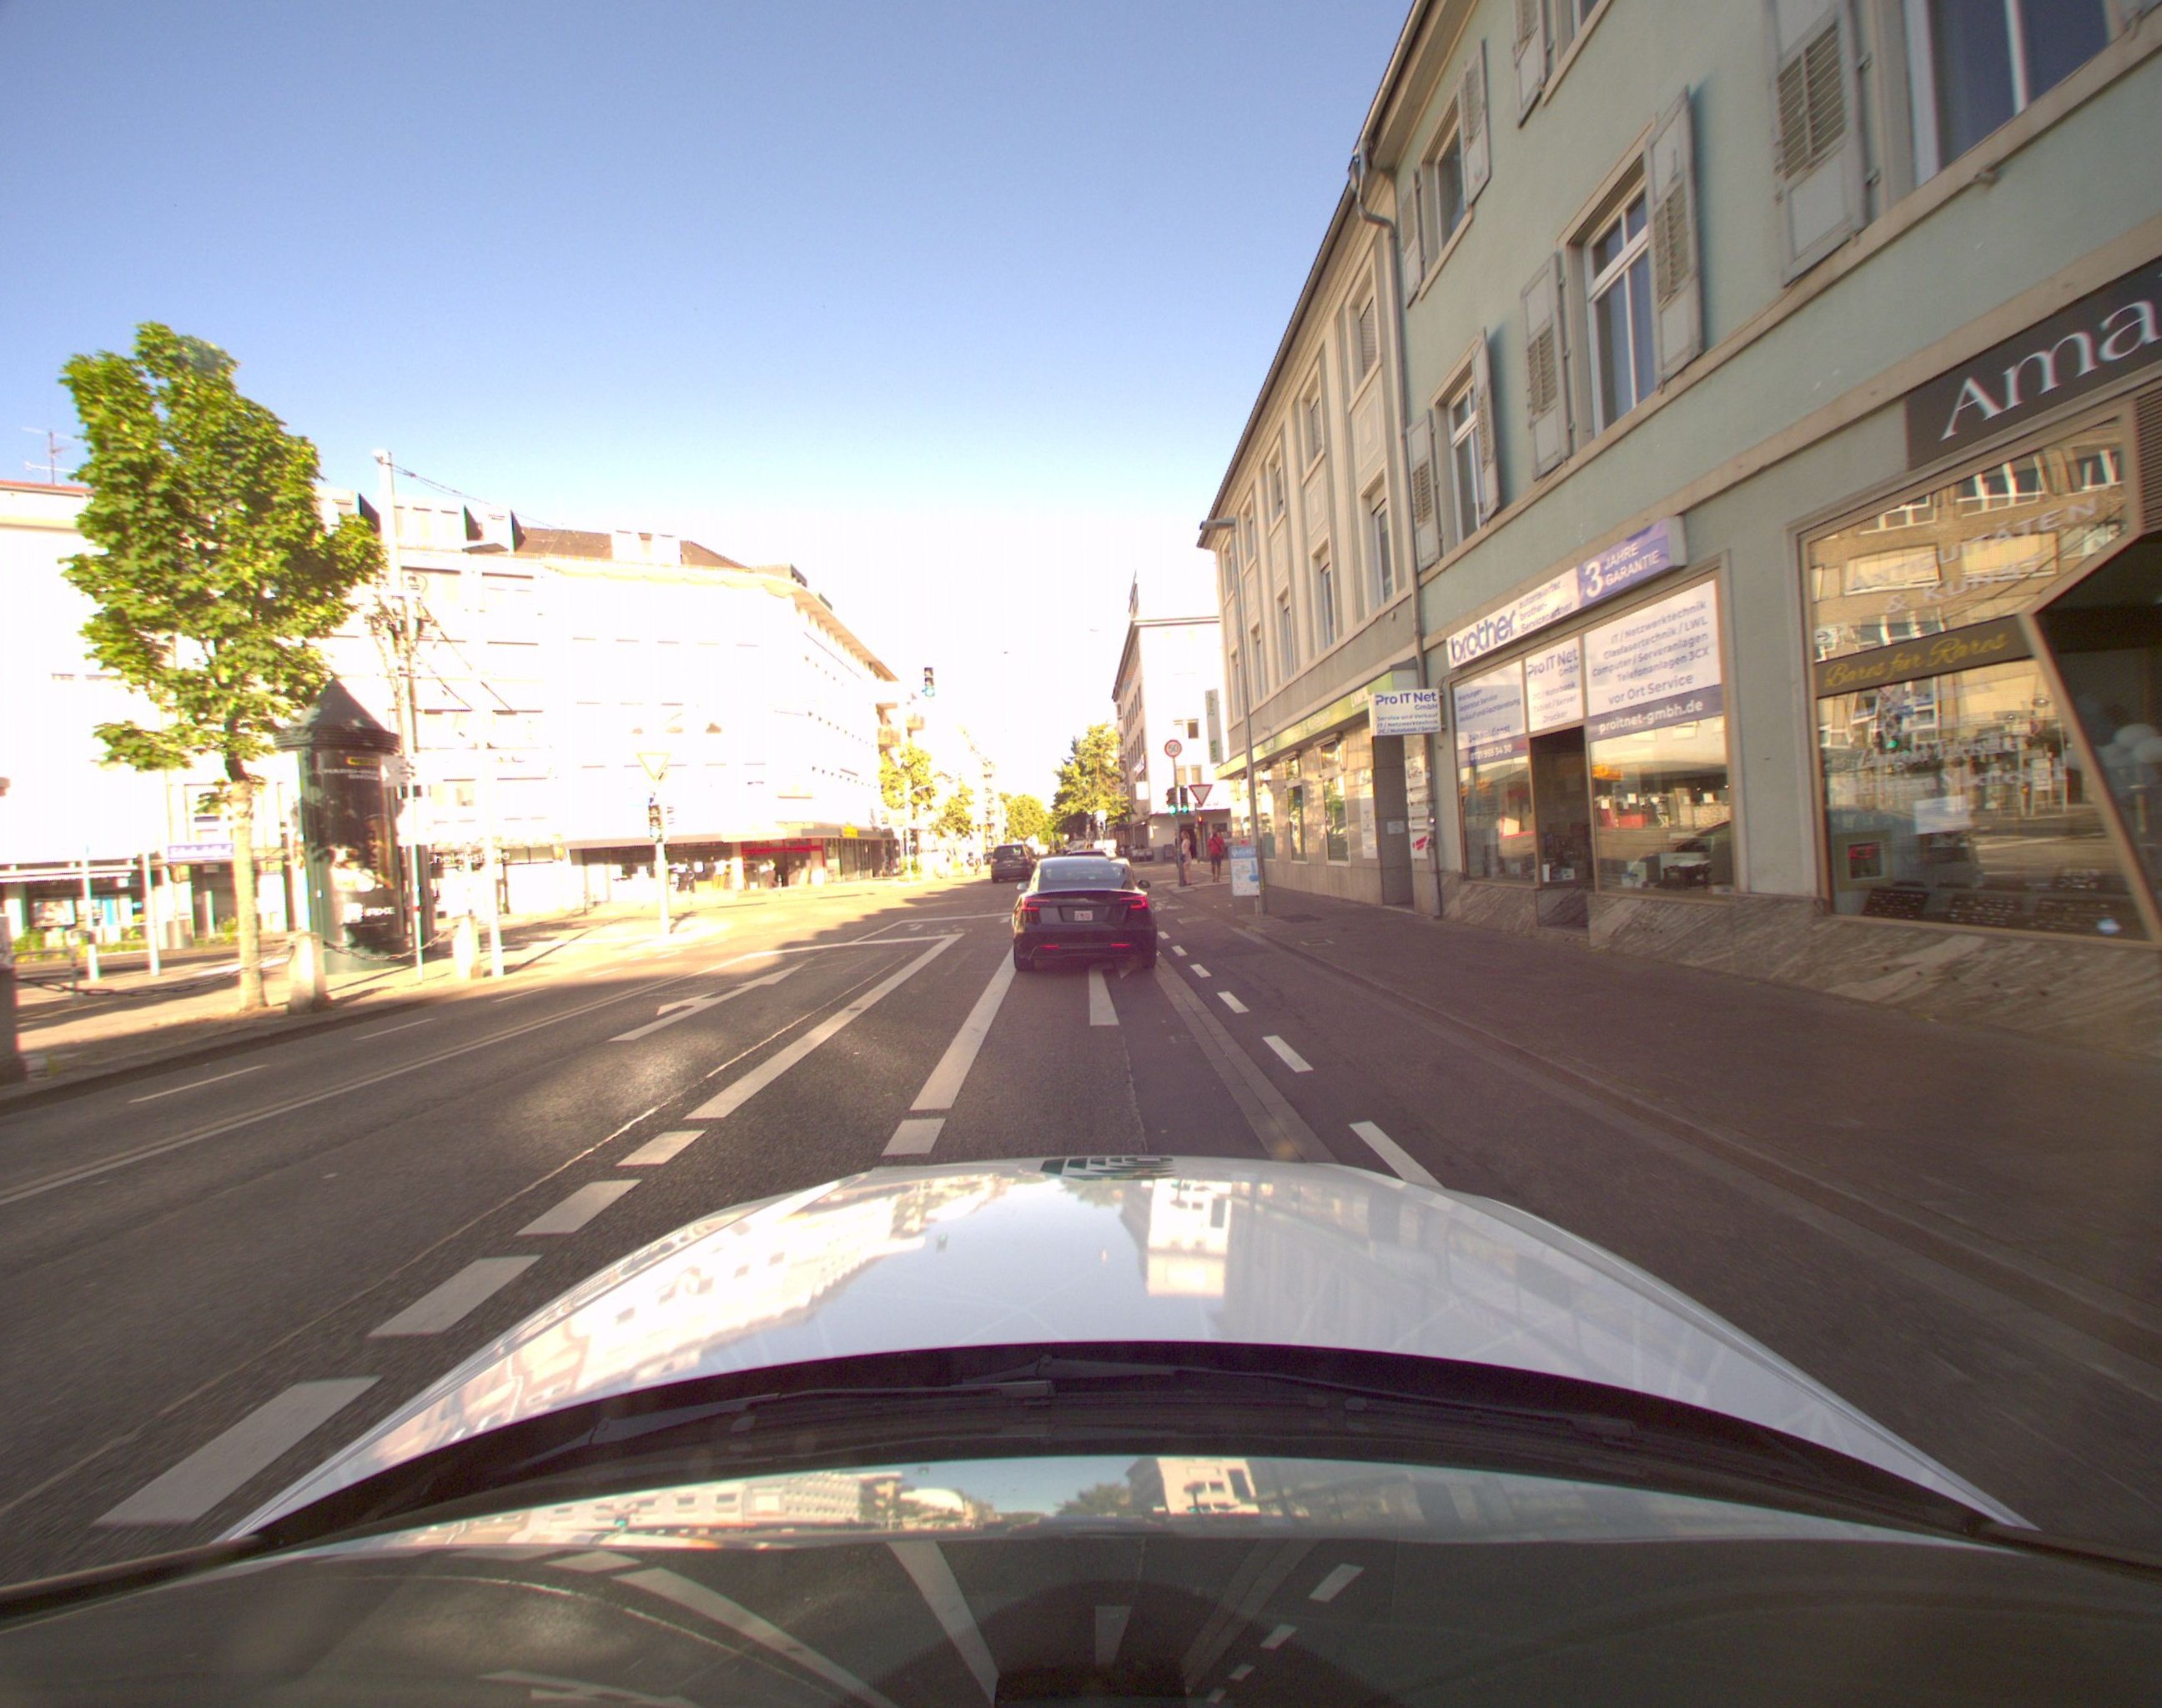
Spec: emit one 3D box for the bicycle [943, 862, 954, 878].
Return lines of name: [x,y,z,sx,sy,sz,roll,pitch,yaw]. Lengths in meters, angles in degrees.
bicycle: [-8.436,1.031,51.905,0.481,0.955,1.448,-5,0,-15]

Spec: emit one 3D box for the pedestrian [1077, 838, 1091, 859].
pedestrian: [0.266,-0.522,79.416,0.951,1.915,1.110,-4,0,15]

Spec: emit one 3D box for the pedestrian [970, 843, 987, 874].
pedestrian: [-6.648,0.279,52.626,0.780,1.866,0.996,-7,1,-15]

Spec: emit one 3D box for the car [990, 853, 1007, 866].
car: [-10.456,0.682,103.551,1.782,1.402,3.902,-4,1,-2]

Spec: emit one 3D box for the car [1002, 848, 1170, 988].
car: [0.070,0.728,11.677,1.863,1.427,4.364,-4,1,0]

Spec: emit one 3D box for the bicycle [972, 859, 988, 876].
bicycle: [-6.564,0.863,52.711,0.759,1.007,1.718,-7,1,-12]

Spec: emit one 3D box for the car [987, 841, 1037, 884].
car: [-3.132,0.353,37.675,1.898,1.733,4.287,-4,1,-1]

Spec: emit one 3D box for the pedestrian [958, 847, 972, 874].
pedestrian: [-7.534,0.419,52.859,0.779,1.727,0.556,-4,1,-16]

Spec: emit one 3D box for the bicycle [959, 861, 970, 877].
bicycle: [-7.519,0.955,52.576,0.553,0.968,1.787,-5,0,-12]

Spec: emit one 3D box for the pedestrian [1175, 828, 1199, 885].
pedestrian: [3.393,0.072,26.063,0.571,1.759,0.649,-3,0,-1]

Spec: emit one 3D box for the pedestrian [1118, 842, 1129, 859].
pedestrian: [3.534,-0.283,67.954,0.708,1.347,1.058,-5,0,-4]

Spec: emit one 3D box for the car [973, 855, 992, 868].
car: [-11.266,0.837,93.692,1.782,1.402,3.902,-4,1,-2]

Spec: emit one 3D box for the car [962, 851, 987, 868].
car: [-11.170,0.510,85.873,1.987,1.598,4.001,-3,1,1]

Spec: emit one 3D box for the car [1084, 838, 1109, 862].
car: [1.323,-0.382,69.402,1.898,1.852,4.287,-4,1,-1]

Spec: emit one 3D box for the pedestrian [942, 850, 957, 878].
pedestrian: [-8.367,0.618,51.700,0.792,1.712,0.651,-4,1,-16]

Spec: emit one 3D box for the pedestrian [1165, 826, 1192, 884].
pedestrian: [3.183,0.021,26.601,0.638,1.841,0.681,-4,1,-1]

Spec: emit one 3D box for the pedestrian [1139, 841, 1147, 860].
pedestrian: [4.430,-0.224,58.148,0.485,1.322,0.655,-5,0,7]

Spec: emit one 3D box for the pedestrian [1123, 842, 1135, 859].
pedestrian: [3.945,-0.298,66.853,0.729,1.347,1.059,-5,0,-3]

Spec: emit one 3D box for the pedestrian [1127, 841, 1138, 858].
pedestrian: [4.310,-0.347,68.130,0.728,1.360,0.958,-5,0,-1]

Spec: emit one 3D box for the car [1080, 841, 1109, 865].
car: [0.996,-0.122,62.969,1.995,1.636,4.287,-4,1,-1]

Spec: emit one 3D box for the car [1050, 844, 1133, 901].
car: [0.406,0.479,24.359,1.751,1.418,4.366,-3,0,9]

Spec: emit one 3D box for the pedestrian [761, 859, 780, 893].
pedestrian: [-15.952,1.114,41.873,0.557,1.709,0.711,-5,0,-4]

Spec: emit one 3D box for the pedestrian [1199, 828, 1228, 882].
pedestrian: [4.322,0.026,26.600,0.687,1.702,0.912,-5,1,0]

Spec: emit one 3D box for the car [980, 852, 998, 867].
car: [-11.154,0.652,98.684,1.713,1.610,3.595,-5,1,-1]

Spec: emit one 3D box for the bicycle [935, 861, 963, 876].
bicycle: [-10.713,1.170,66.100,2.223,0.958,0.653,-4,0,-14]

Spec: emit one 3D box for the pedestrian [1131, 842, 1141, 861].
pedestrian: [3.888,-0.174,57.357,0.584,1.312,0.560,-5,0,-1]

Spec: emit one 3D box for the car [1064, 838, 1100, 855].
car: [0.135,-1.194,124.667,5.378,2.145,1.998,-5,0,-2]
